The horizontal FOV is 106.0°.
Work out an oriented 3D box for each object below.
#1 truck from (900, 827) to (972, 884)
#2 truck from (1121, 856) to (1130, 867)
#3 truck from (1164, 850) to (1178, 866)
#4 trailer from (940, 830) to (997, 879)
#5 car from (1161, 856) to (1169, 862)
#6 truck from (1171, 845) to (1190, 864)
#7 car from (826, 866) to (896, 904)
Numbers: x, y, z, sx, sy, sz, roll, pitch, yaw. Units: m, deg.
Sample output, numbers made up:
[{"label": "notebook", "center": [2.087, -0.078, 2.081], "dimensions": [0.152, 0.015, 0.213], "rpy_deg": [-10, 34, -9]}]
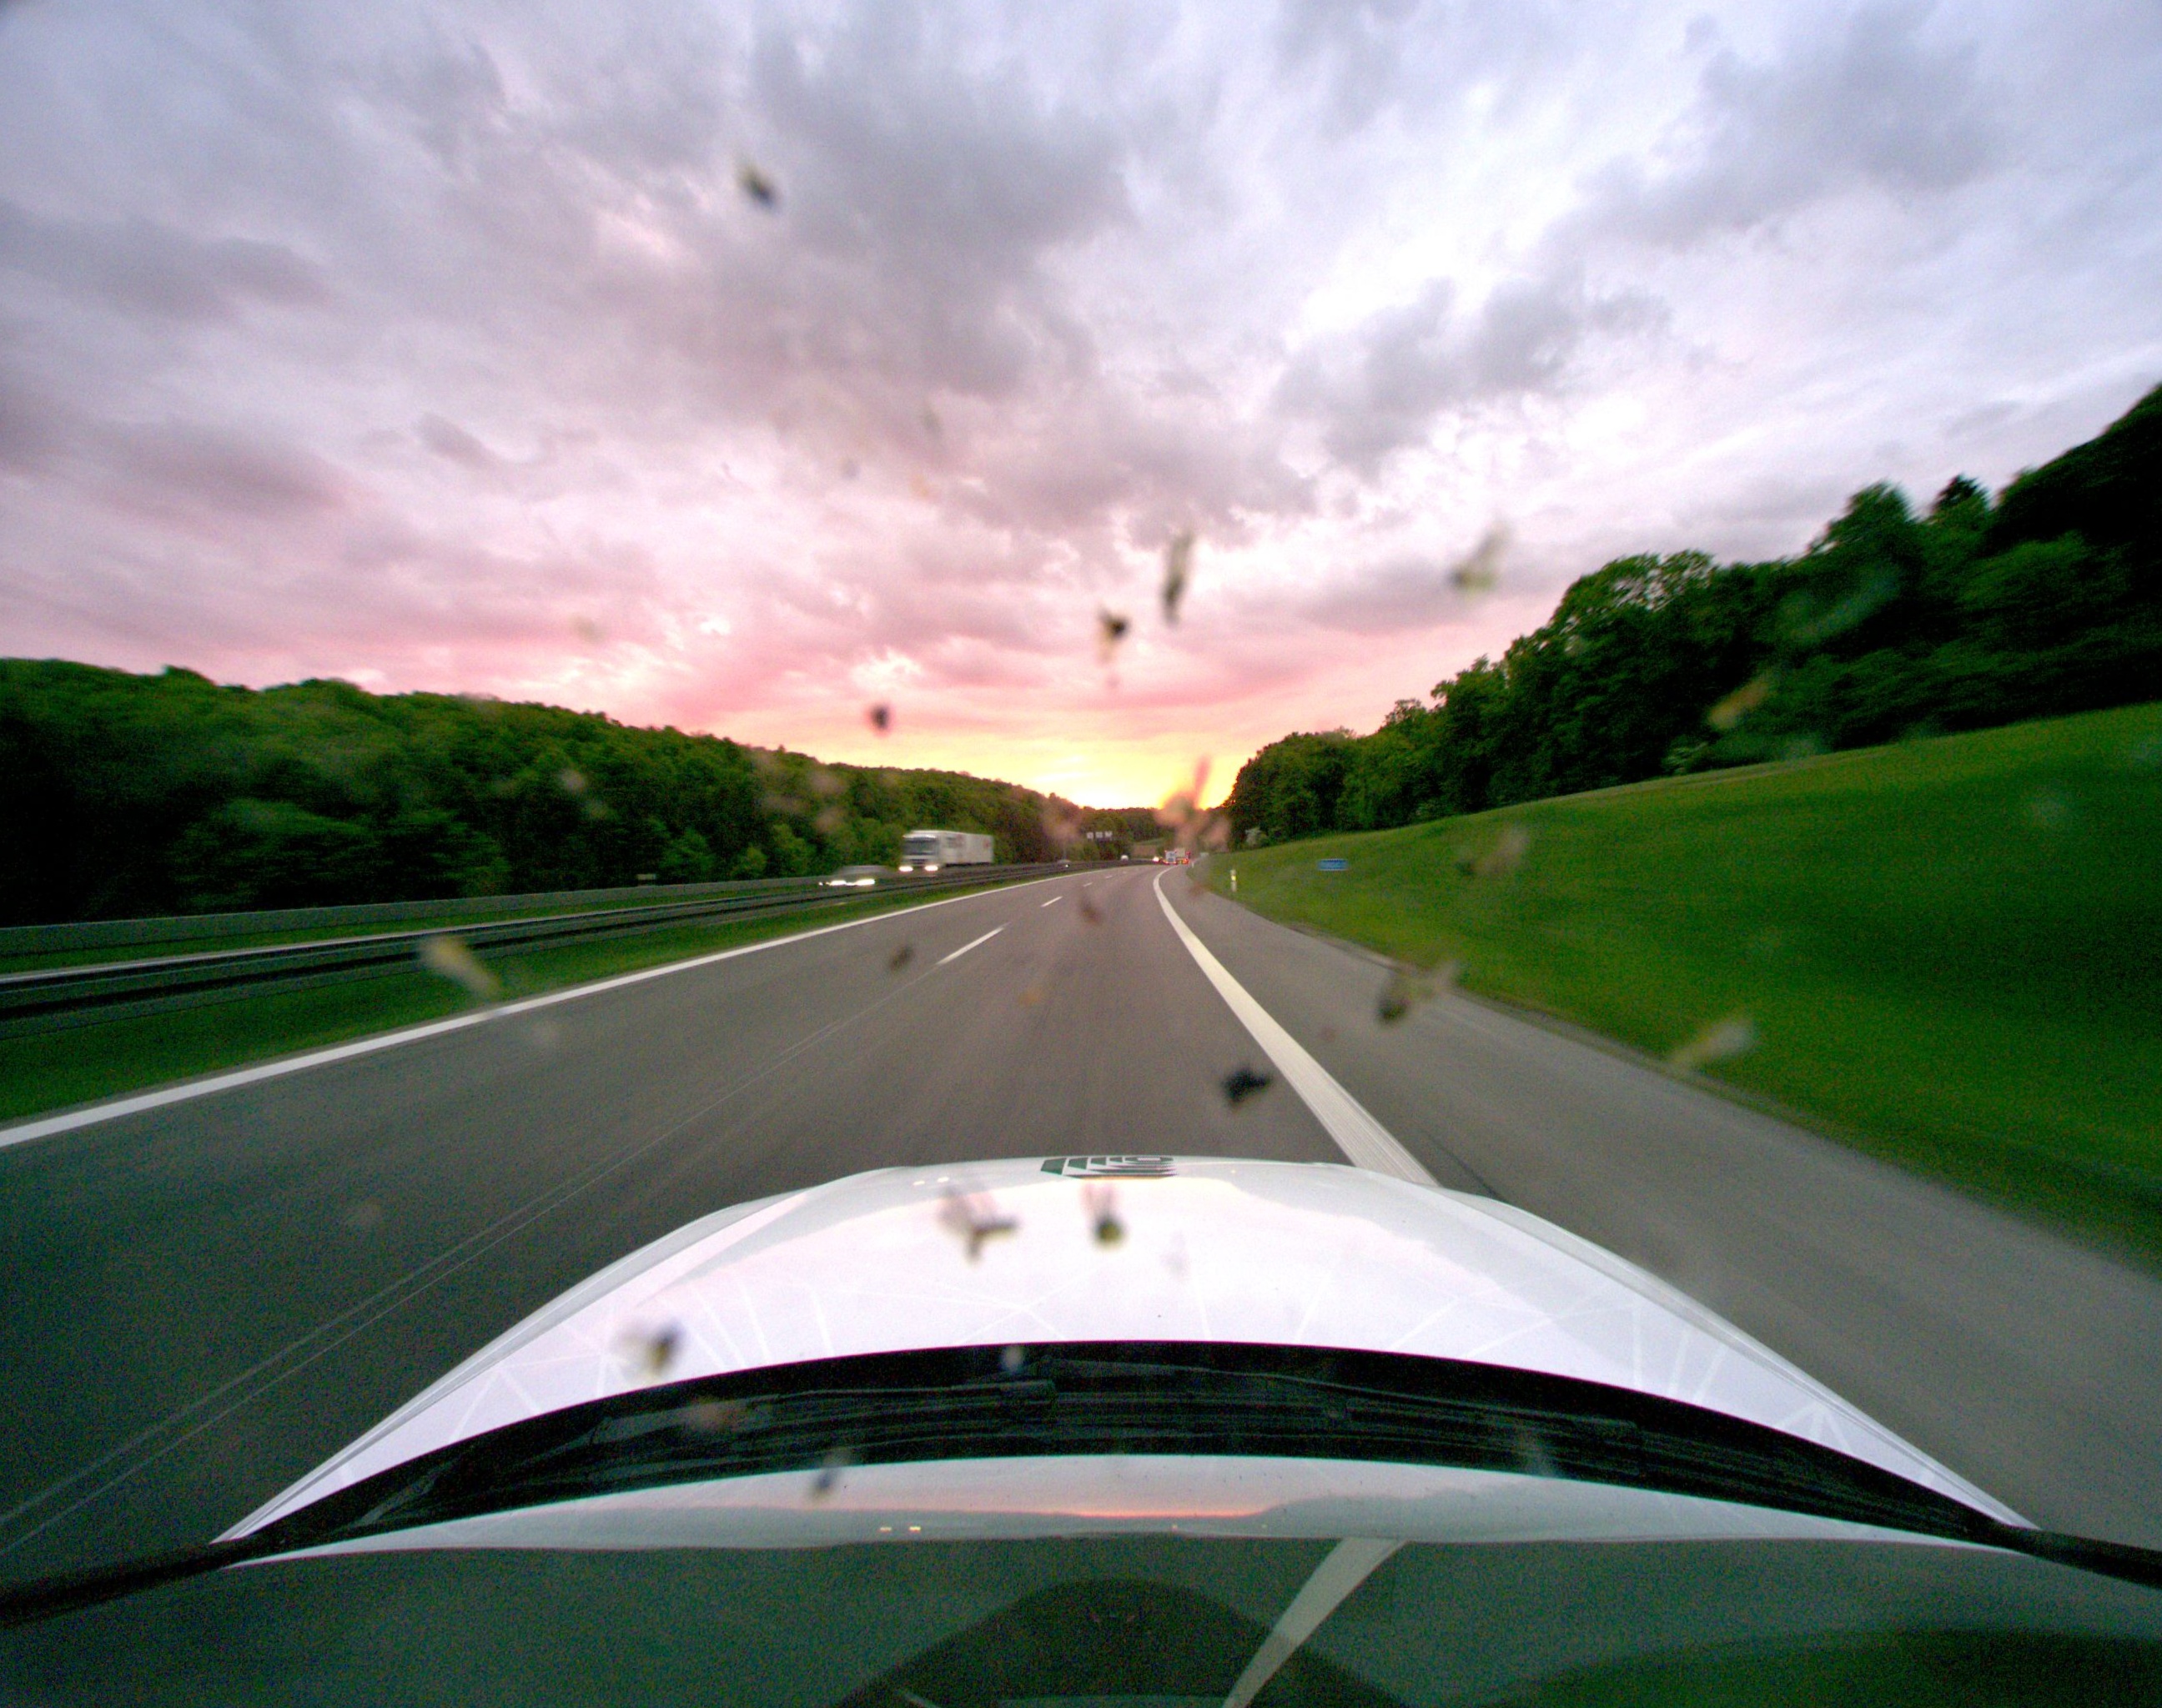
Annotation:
[{"label": "truck", "center": [-11.780, 0.083, 67.493], "dimensions": [2.849, 4.281, 10.087], "rpy_deg": [-2, 0, 8]}, {"label": "truck", "center": [12.722, 2.021, 232.158], "dimensions": [1.982, 3.067, 5.607], "rpy_deg": [-2, 0, 8]}, {"label": "truck", "center": [17.205, 0.666, 154.671], "dimensions": [2.262, 2.664, 5.250], "rpy_deg": [-3, 2, 9]}, {"label": "trailer", "center": [-10.472, 0.052, 77.179], "dimensions": [2.816, 4.317, 9.313], "rpy_deg": [-2, 0, 8]}, {"label": "car", "center": [22.748, 1.462, 221.337], "dimensions": [1.983, 1.517, 4.008], "rpy_deg": [-3, 0, 7]}, {"label": "truck", "center": [25.530, 0.054, 208.579], "dimensions": [3.934, 4.286, 14.361], "rpy_deg": [-3, 0, 9]}, {"label": "car", "center": [-10.594, 1.453, 39.601], "dimensions": [1.646, 1.550, 4.679], "rpy_deg": [-4, 0, 6]}]
